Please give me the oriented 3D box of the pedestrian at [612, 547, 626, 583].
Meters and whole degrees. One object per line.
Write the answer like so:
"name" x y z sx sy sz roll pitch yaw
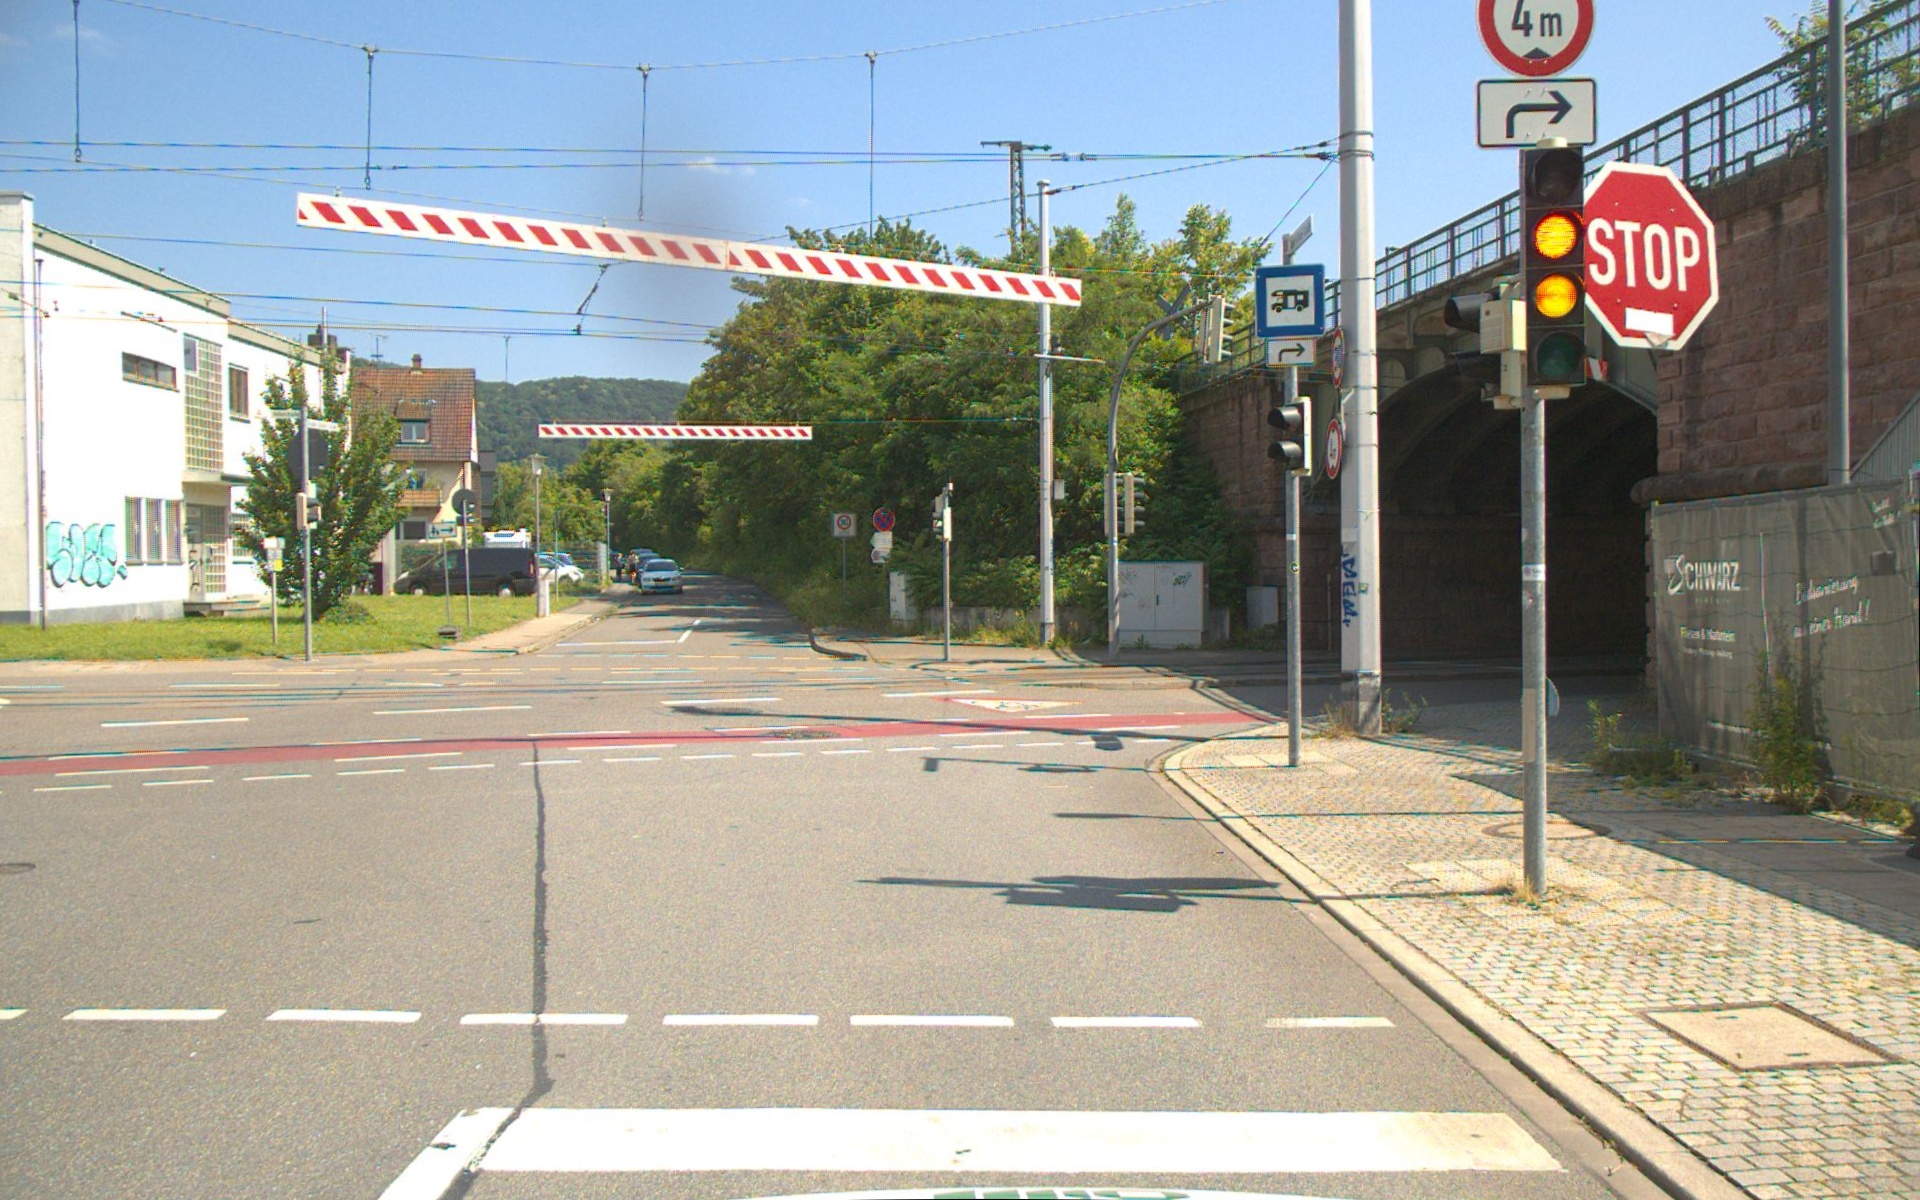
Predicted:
"pedestrian" -17.238 -1.775 83.592 0.642 1.793 0.802 1 -1 -10

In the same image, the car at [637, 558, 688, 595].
"car" -13.017 -1.050 72.538 2.048 1.536 4.531 1 1 -9

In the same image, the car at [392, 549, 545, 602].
"car" -18.052 -0.912 60.919 5.153 1.847 1.995 -1 1 -11

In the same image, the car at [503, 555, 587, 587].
"car" -19.432 -1.345 77.534 3.650 1.395 1.602 1 0 -8

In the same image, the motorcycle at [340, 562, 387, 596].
"motorcycle" -19.696 -0.674 54.632 0.835 1.050 2.564 1 0 -6

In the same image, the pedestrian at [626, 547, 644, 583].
"pedestrian" -16.415 -1.745 83.567 0.860 1.793 0.729 1 -1 -10

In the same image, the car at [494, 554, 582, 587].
"car" -19.135 -1.333 75.120 3.650 1.395 1.601 1 0 -8
